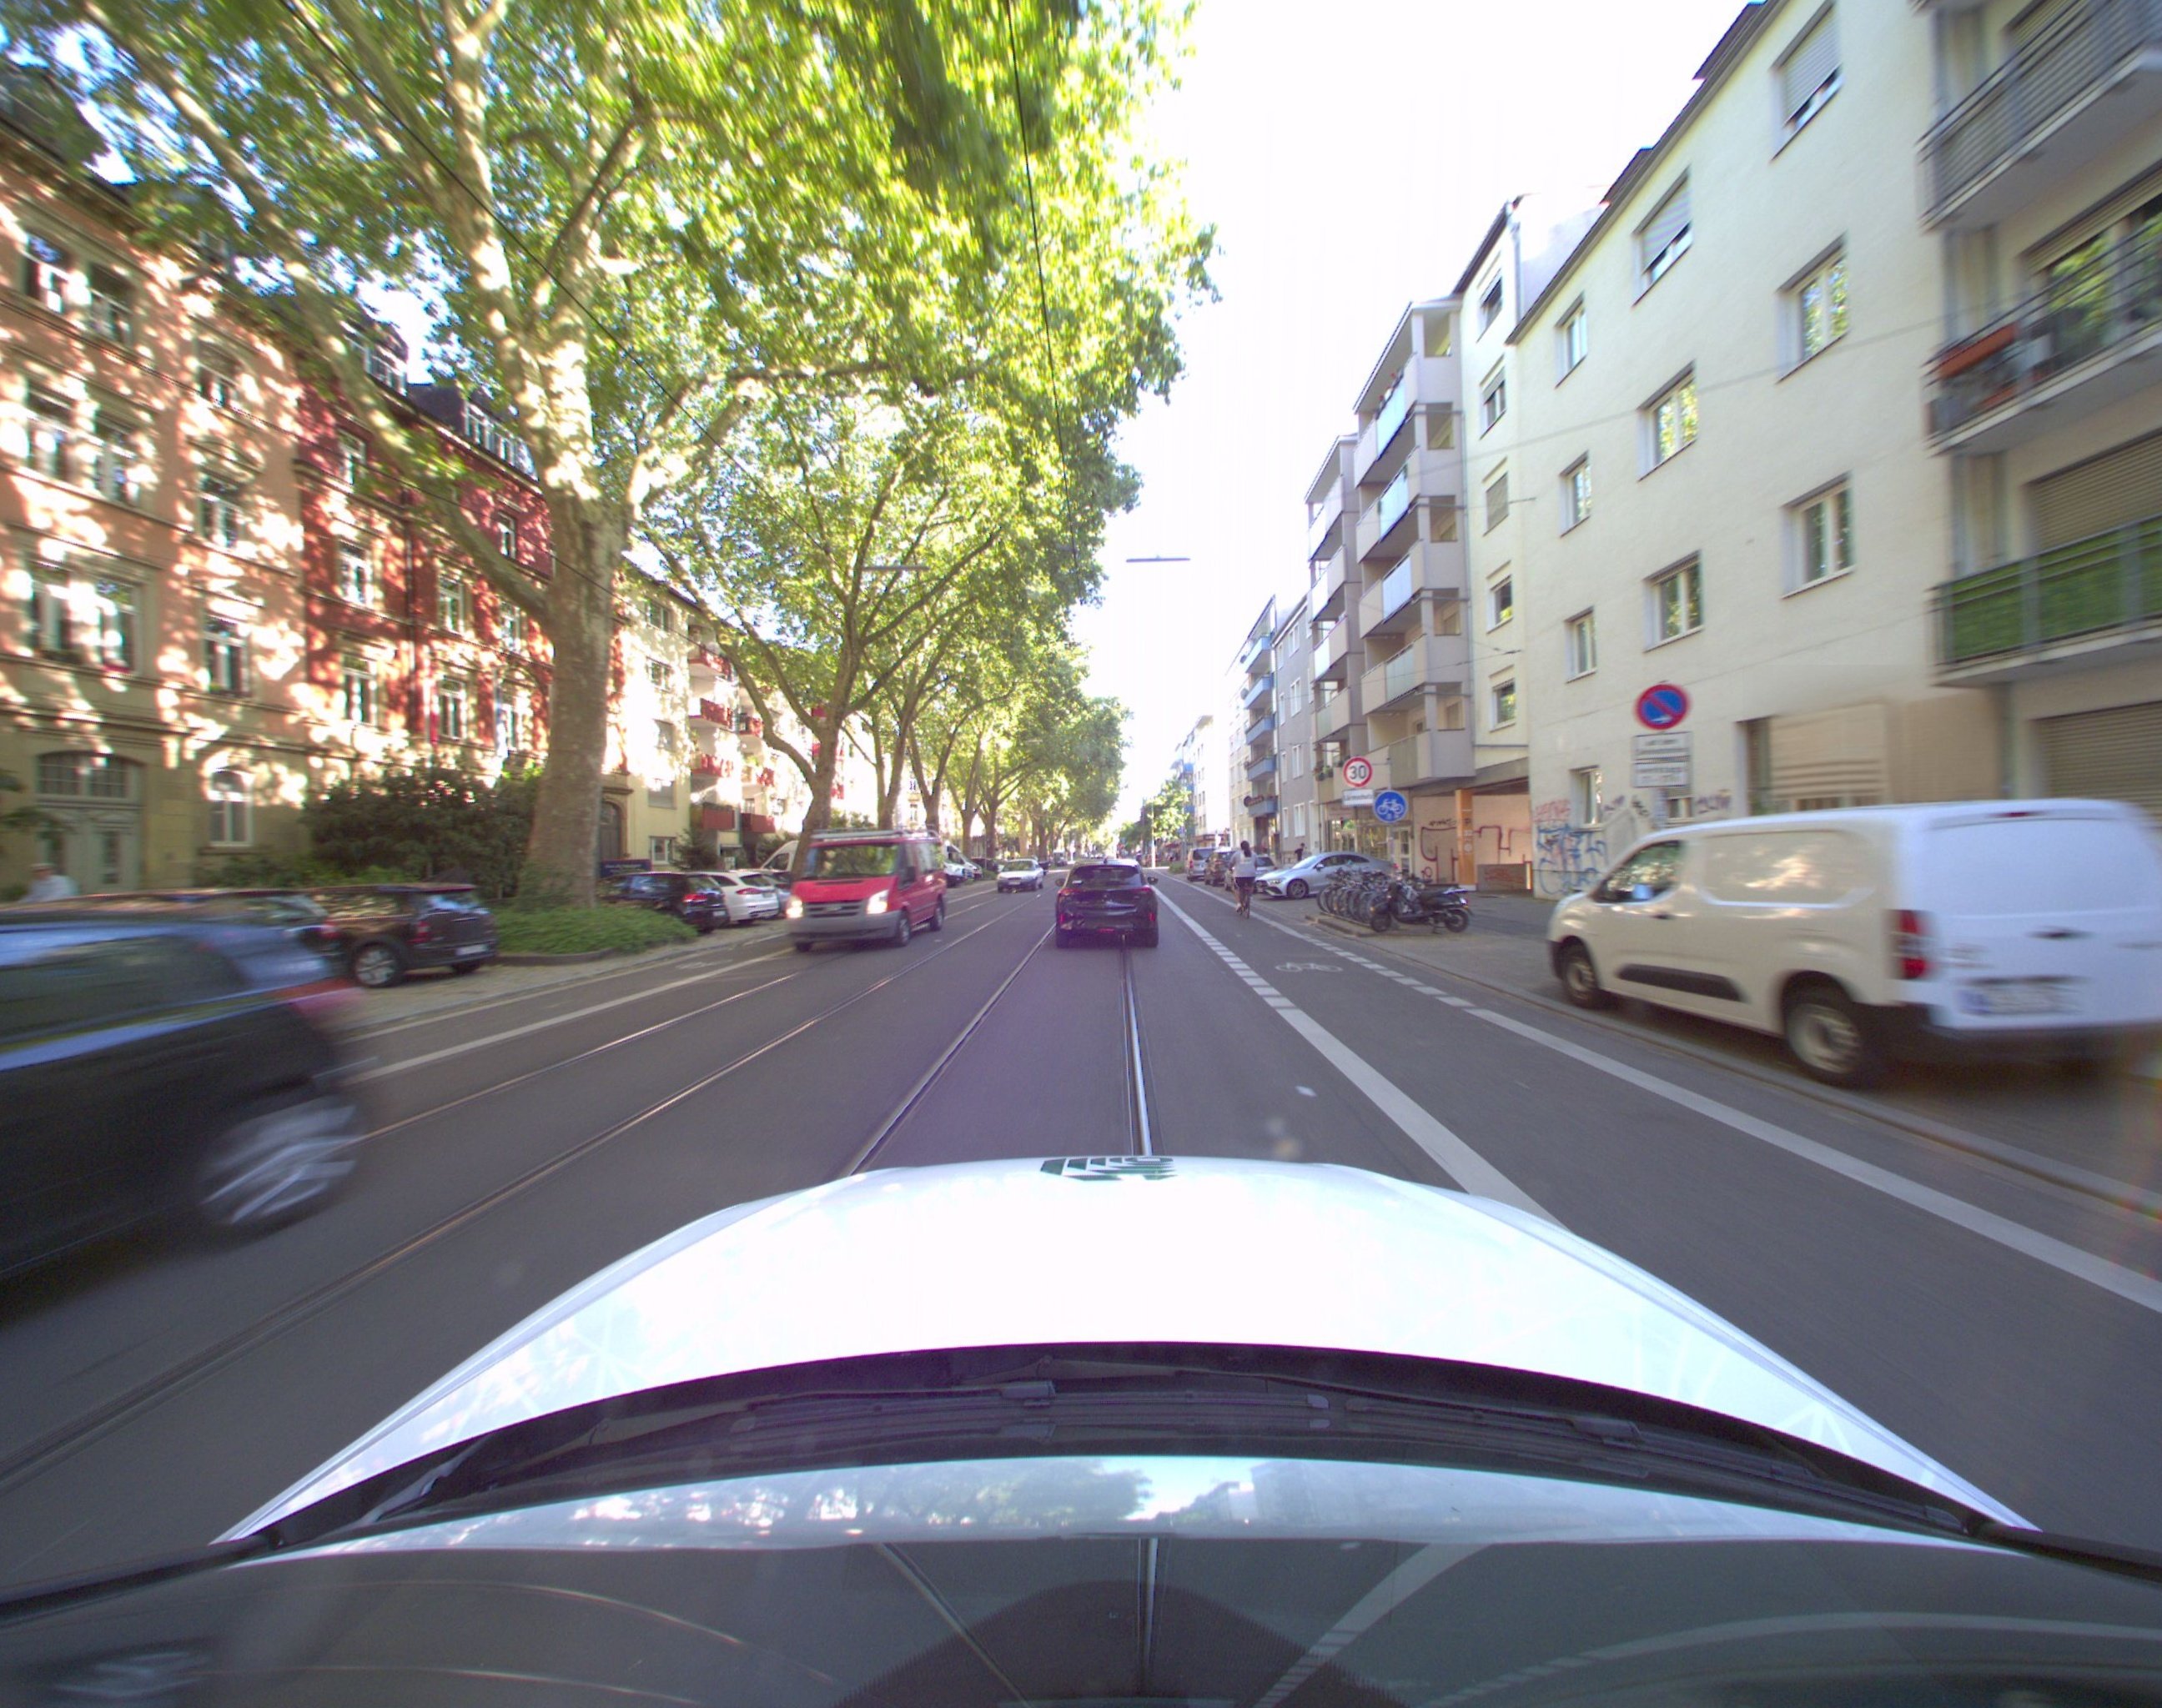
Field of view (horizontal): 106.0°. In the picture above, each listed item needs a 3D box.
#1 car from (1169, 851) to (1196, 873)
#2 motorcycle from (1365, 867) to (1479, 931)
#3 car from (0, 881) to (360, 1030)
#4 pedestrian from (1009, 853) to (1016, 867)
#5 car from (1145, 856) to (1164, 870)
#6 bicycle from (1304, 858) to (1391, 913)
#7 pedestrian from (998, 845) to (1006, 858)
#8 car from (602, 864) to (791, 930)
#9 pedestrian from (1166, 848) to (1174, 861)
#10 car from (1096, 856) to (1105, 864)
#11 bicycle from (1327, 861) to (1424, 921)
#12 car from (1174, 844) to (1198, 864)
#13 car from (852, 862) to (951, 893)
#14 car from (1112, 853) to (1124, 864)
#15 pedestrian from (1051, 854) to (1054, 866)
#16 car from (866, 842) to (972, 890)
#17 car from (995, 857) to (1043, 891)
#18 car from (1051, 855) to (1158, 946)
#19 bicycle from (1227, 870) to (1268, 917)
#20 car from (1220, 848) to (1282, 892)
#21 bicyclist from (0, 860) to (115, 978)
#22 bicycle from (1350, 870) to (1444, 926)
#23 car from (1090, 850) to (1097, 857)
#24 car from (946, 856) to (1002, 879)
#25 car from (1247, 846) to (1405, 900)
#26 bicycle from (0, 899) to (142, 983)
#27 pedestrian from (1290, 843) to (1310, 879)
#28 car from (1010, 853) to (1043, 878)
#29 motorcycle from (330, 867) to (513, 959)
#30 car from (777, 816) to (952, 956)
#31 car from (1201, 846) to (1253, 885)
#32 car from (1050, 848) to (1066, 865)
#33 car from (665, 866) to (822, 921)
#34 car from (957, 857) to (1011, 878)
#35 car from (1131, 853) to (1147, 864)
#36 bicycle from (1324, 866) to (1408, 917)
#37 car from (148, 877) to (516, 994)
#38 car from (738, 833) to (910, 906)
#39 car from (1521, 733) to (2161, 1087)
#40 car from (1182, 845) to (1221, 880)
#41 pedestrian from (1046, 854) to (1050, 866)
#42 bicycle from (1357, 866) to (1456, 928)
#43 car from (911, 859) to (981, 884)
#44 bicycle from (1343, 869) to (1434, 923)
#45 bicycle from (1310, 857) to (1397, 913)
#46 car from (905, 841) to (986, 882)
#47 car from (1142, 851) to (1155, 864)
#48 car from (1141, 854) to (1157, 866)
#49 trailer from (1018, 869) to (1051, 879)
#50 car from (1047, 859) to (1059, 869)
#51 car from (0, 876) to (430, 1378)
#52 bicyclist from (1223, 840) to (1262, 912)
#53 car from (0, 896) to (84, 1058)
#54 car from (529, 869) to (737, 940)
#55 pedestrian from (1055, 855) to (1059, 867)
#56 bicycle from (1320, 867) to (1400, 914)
[{"bbox_3d":[8.092,0.642,65.331,1.850,1.651,4.004,-2,0,4],"label":"car"},{"bbox_3d":[6.146,0.824,14.705,1.801,1.080,0.621,-3,-1,25],"label":"motorcycle"},{"bbox_3d":[-11.201,1.141,9.548,3.969,1.460,1.772,-2,0,4],"label":"car"},{"bbox_3d":[-8.970,0.784,106.717,0.903,1.869,0.643,-2,0,-4],"label":"pedestrian"},{"bbox_3d":[8.675,1.037,96.322,1.713,1.574,4.082,-2,0,-2],"label":"car"},{"bbox_3d":[6.436,0.759,19.694,1.885,1.191,0.457,-4,0,2],"label":"bicycle"},{"bbox_3d":[-10.199,-0.322,105.073,0.845,1.632,0.643,-2,0,-4],"label":"pedestrian"},{"bbox_3d":[-9.923,1.095,21.219,3.971,1.496,1.831,-2,0,2],"label":"car"},{"bbox_3d":[11.731,0.065,106.898,0.761,1.748,0.800,-2,0,26],"label":"pedestrian"},{"bbox_3d":[4.545,1.386,191.125,1.742,1.651,4.004,-2,0,4],"label":"car"},{"bbox_3d":[6.321,0.783,17.534,1.787,1.148,0.705,-4,0,2],"label":"bicycle"},{"bbox_3d":[9.201,-0.014,71.764,1.850,1.651,4.004,-2,0,4],"label":"car"},{"bbox_3d":[-8.838,1.144,40.384,4.393,1.384,1.934,-1,0,2],"label":"car"},{"bbox_3d":[5.826,0.736,127.937,1.850,1.651,4.004,-2,0,4],"label":"car"},{"bbox_3d":[-3.932,0.815,113.617,0.345,1.583,0.508,-2,0,0],"label":"pedestrian"},{"bbox_3d":[-8.964,0.647,45.233,5.339,2.477,2.058,-2,0,2],"label":"car"},{"bbox_3d":[-2.705,0.852,36.261,1.712,1.359,4.470,-2,0,1],"label":"car"},{"bbox_3d":[0.432,0.735,14.548,1.673,1.422,3.629,0,0,2],"label":"car"},{"bbox_3d":[4.140,0.955,20.404,0.698,1.092,1.991,0,-1,2],"label":"bicycle"},{"bbox_3d":[6.553,0.583,31.803,1.717,1.525,4.517,-2,0,4],"label":"car"},{"bbox_3d":[-16.358,0.993,12.892,0.827,1.763,1.049,-2,0,2],"label":"bicyclist"},{"bbox_3d":[6.286,0.869,16.249,1.646,0.987,0.457,-4,0,2],"label":"bicycle"},{"bbox_3d":[3.808,-0.132,245.935,1.988,2.211,5.099,-2,0,-2],"label":"car"},{"bbox_3d":[-8.201,0.999,62.529,3.973,1.647,1.894,-2,0,1],"label":"car"},{"bbox_3d":[7.995,0.594,26.761,4.612,1.437,1.859,-3,0,-9],"label":"car"},{"bbox_3d":[-16.397,1.350,12.976,0.739,1.138,1.781,-2,0,2],"label":"bicycle"},{"bbox_3d":[10.776,0.350,40.135,0.753,1.720,0.720,-2,0,1],"label":"pedestrian"},{"bbox_3d":[-4.177,0.866,62.772,1.986,1.700,4.487,-3,0,2],"label":"car"},{"bbox_3d":[-12.820,1.075,16.046,1.048,1.631,3.013,0,-1,2],"label":"motorcycle"},{"bbox_3d":[-3.947,0.524,15.839,1.910,2.227,4.961,-2,0,1],"label":"car"},{"bbox_3d":[6.829,0.511,38.441,1.760,1.705,4.284,-2,0,1],"label":"car"},{"bbox_3d":[-3.676,0.413,129.083,2.084,2.584,5.999,-2,0,2],"label":"car"},{"bbox_3d":[-9.733,1.123,23.672,3.791,1.432,1.706,-2,0,4],"label":"car"},{"bbox_3d":[-7.731,1.094,65.202,3.973,1.522,1.771,-2,0,1],"label":"car"},{"bbox_3d":[8.638,0.688,121.116,1.988,1.640,3.997,-2,0,-2],"label":"car"},{"bbox_3d":[6.358,0.837,18.205,1.646,1.020,0.457,-4,0,2],"label":"bicycle"},{"bbox_3d":[-10.989,1.164,12.124,3.969,1.460,1.706,-2,0,4],"label":"car"},{"bbox_3d":[-9.586,0.550,30.689,5.718,2.536,2.164,-1,0,2],"label":"car"},{"bbox_3d":[5.683,0.314,6.599,1.852,1.820,4.352,-5,-1,2],"label":"car"},{"bbox_3d":[6.909,0.475,47.150,1.850,1.890,4.930,-2,0,4],"label":"car"},{"bbox_3d":[-4.582,0.807,113.119,0.505,1.583,0.526,-2,0,-2],"label":"pedestrian"},{"bbox_3d":[6.235,0.821,15.625,1.646,1.055,0.457,-4,0,2],"label":"bicycle"},{"bbox_3d":[-8.492,1.098,51.319,4.003,1.466,1.874,-1,0,2],"label":"car"},{"bbox_3d":[6.301,0.856,16.745,1.646,0.987,0.457,-4,0,2],"label":"bicycle"},{"bbox_3d":[6.407,0.732,19.202,1.816,1.191,0.457,-4,0,2],"label":"bicycle"},{"bbox_3d":[-8.941,0.489,54.027,4.929,2.567,2.081,-2,0,-1],"label":"car"},{"bbox_3d":[8.817,0.448,106.400,1.644,1.574,3.087,-2,0,4],"label":"car"},{"bbox_3d":[8.541,0.766,102.158,1.712,1.490,3.682,-2,0,1],"label":"car"},{"bbox_3d":[-3.820,1.678,68.208,2.152,0.632,6.403,-2,0,2],"label":"trailer"},{"bbox_3d":[-4.216,1.475,122.651,1.749,1.508,3.998,-2,0,-1],"label":"car"},{"bbox_3d":[-4.226,0.893,2.281,1.712,1.510,3.724,-2,0,1],"label":"car"},{"bbox_3d":[4.038,0.545,20.448,0.783,1.759,0.915,-1,-1,2],"label":"bicyclist"},{"bbox_3d":[-11.363,1.143,6.748,3.978,1.369,1.603,-2,0,-4],"label":"car"},{"bbox_3d":[-10.126,1.115,18.572,3.778,1.460,1.705,-1,0,3],"label":"car"},{"bbox_3d":[-3.383,0.939,113.276,0.505,1.583,0.527,-2,0,1],"label":"pedestrian"},{"bbox_3d":[6.399,0.839,18.714,1.646,0.966,0.457,-4,0,2],"label":"bicycle"}]
